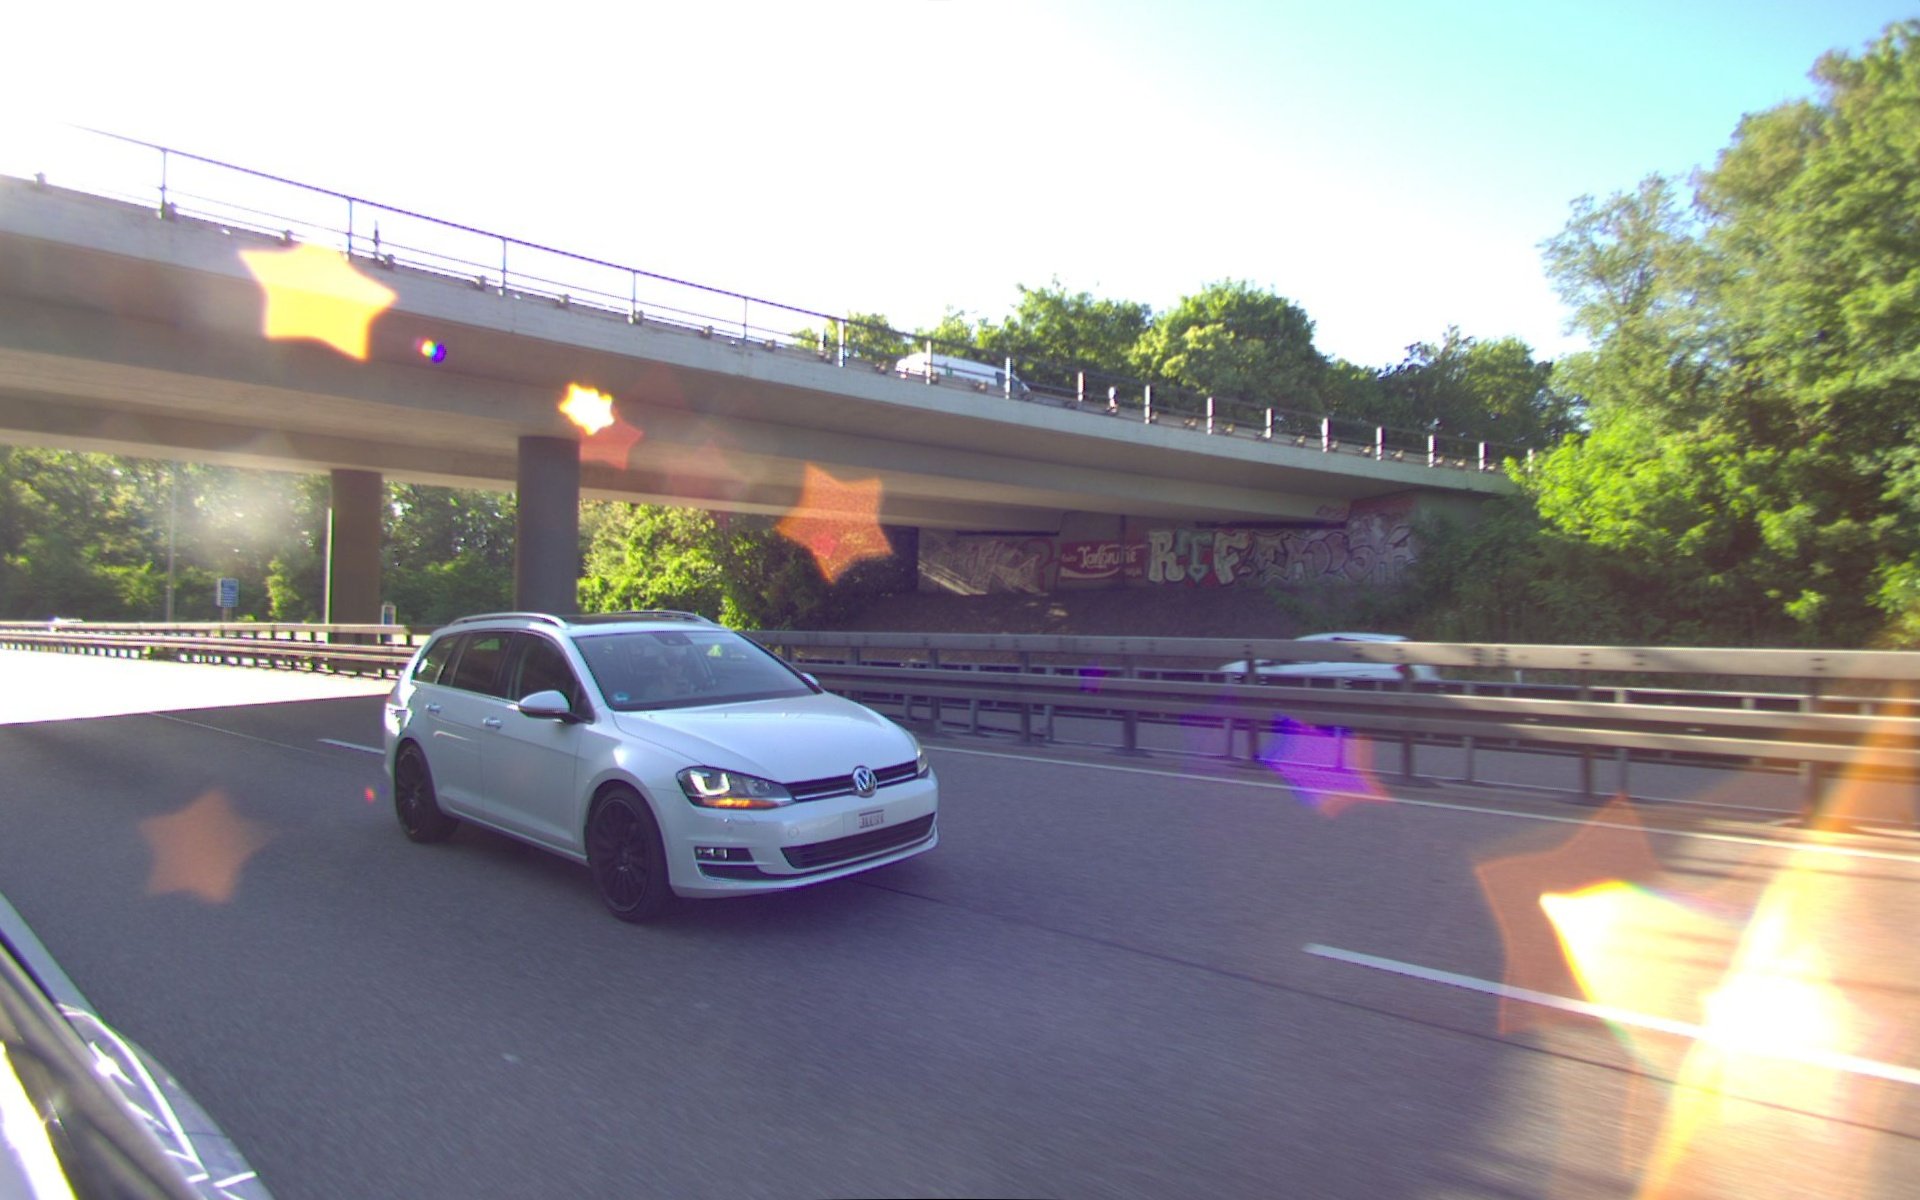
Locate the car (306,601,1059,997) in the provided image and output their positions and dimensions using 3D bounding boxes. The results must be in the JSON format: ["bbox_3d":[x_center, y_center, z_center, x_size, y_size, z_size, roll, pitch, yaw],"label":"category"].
[{"bbox_3d":[-2.203,0.815,6.484,5.596,1.519,1.909,-1,-1,41],"label":"car"}]

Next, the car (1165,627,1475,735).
[{"bbox_3d":[6.187,1.294,17.745,4.727,1.606,1.972,-1,-1,42],"label":"car"}]
